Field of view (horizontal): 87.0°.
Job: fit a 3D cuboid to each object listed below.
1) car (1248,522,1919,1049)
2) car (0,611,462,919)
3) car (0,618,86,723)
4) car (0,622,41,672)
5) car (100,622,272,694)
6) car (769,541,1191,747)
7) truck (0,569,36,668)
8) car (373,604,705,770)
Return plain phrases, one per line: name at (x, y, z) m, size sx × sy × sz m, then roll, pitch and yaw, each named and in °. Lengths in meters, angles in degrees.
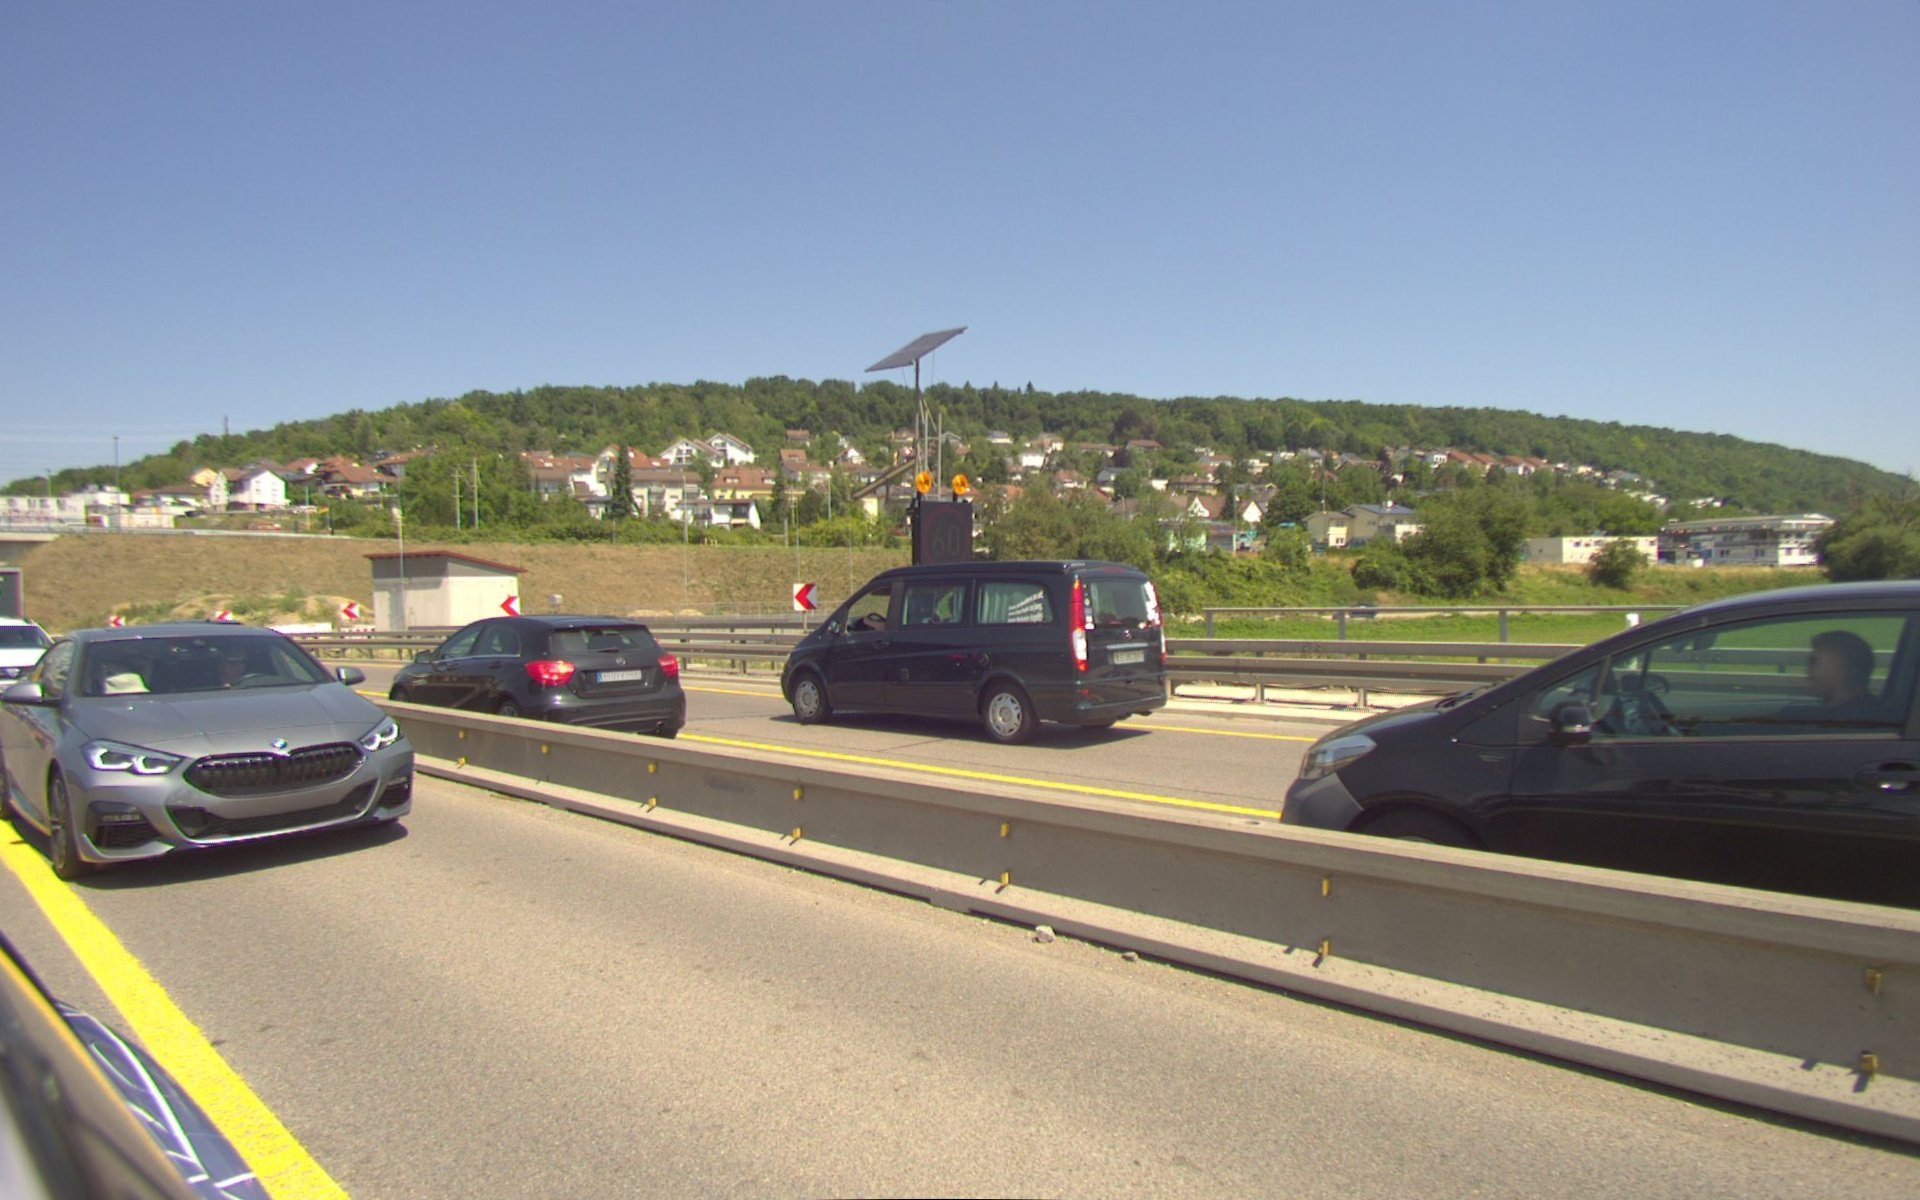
car at (3.383, 0.584, 3.806) m, size 4.083 × 1.594 × 1.723 m, roll -2°, pitch -3°, yaw 41°
car at (-5.479, 0.859, 7.106) m, size 4.738 × 1.463 × 1.833 m, roll -2°, pitch -1°, yaw 40°
car at (-16.104, 1.113, 16.589) m, size 4.699 × 1.542 × 1.802 m, roll -2°, pitch -1°, yaw 38°
car at (-31.177, 1.506, 32.298) m, size 4.186 × 1.536 × 1.992 m, roll -2°, pitch -1°, yaw 37°
car at (-16.114, 1.156, 20.990) m, size 4.684 × 1.332 × 1.841 m, roll -2°, pitch -2°, yaw 40°
car at (0.043, 0.488, 11.969) m, size 4.936 × 1.948 × 1.903 m, roll -2°, pitch -2°, yaw 41°
truck at (-48.010, 0.938, 46.461) m, size 17.264 × 4.167 × 3.237 m, roll -1°, pitch -2°, yaw 30°
car at (-4.709, 0.850, 11.064) m, size 4.083 × 1.484 × 1.723 m, roll -2°, pitch -3°, yaw 41°
